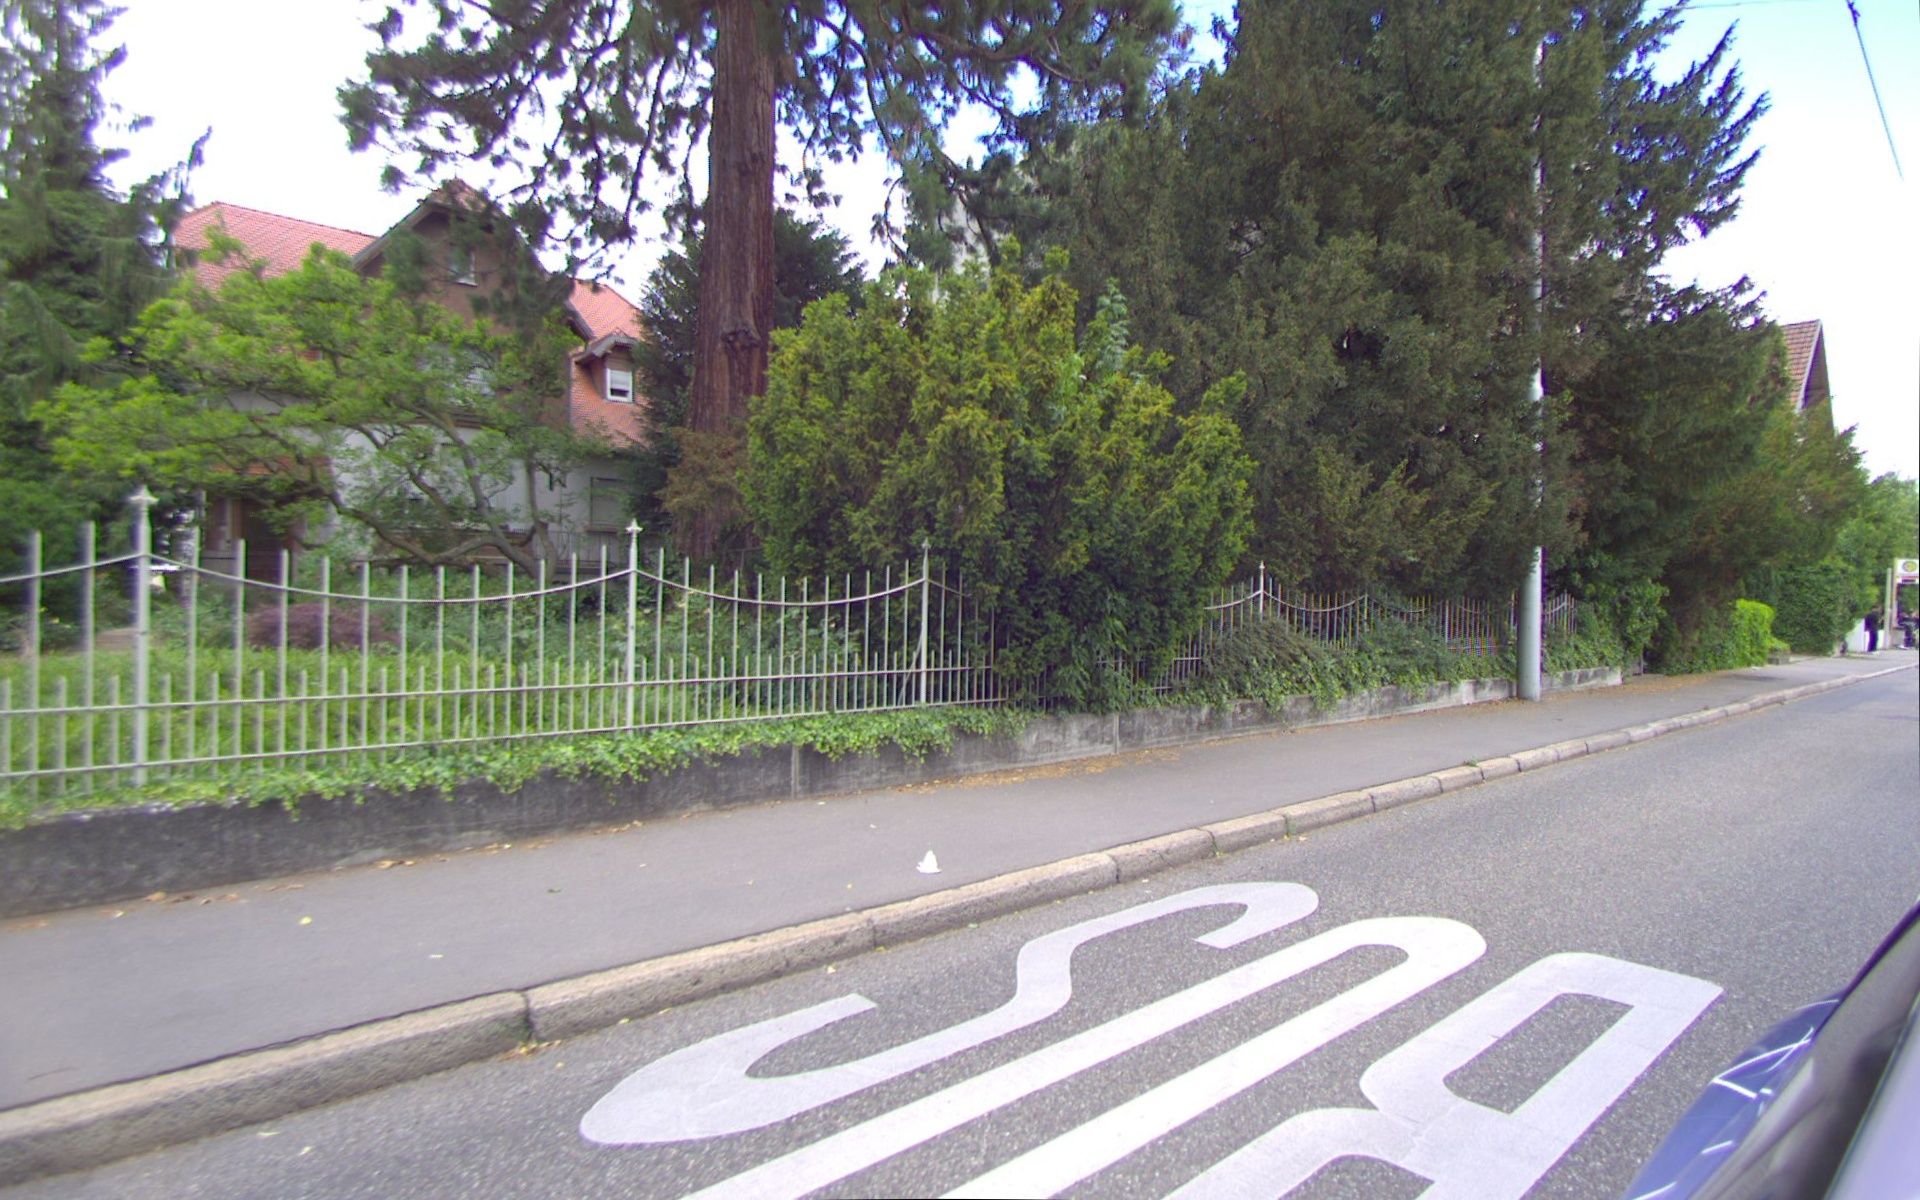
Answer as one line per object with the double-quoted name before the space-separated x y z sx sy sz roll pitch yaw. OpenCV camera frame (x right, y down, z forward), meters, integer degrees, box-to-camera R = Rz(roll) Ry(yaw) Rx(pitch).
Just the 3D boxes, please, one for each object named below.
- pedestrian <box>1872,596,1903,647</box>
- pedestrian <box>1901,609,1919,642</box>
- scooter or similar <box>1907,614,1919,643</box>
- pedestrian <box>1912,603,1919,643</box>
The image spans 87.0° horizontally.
"pedestrian" 32.405 0.744 35.362 0.657 1.789 0.491 0 0 -9
"pedestrian" 37.442 1.008 39.514 0.914 1.266 0.777 6 4 44
"scooter or similar" 38.201 1.143 40.076 0.842 1.110 0.479 4 3 2
"pedestrian" 38.808 0.944 40.656 0.736 1.553 0.661 0 4 -42
